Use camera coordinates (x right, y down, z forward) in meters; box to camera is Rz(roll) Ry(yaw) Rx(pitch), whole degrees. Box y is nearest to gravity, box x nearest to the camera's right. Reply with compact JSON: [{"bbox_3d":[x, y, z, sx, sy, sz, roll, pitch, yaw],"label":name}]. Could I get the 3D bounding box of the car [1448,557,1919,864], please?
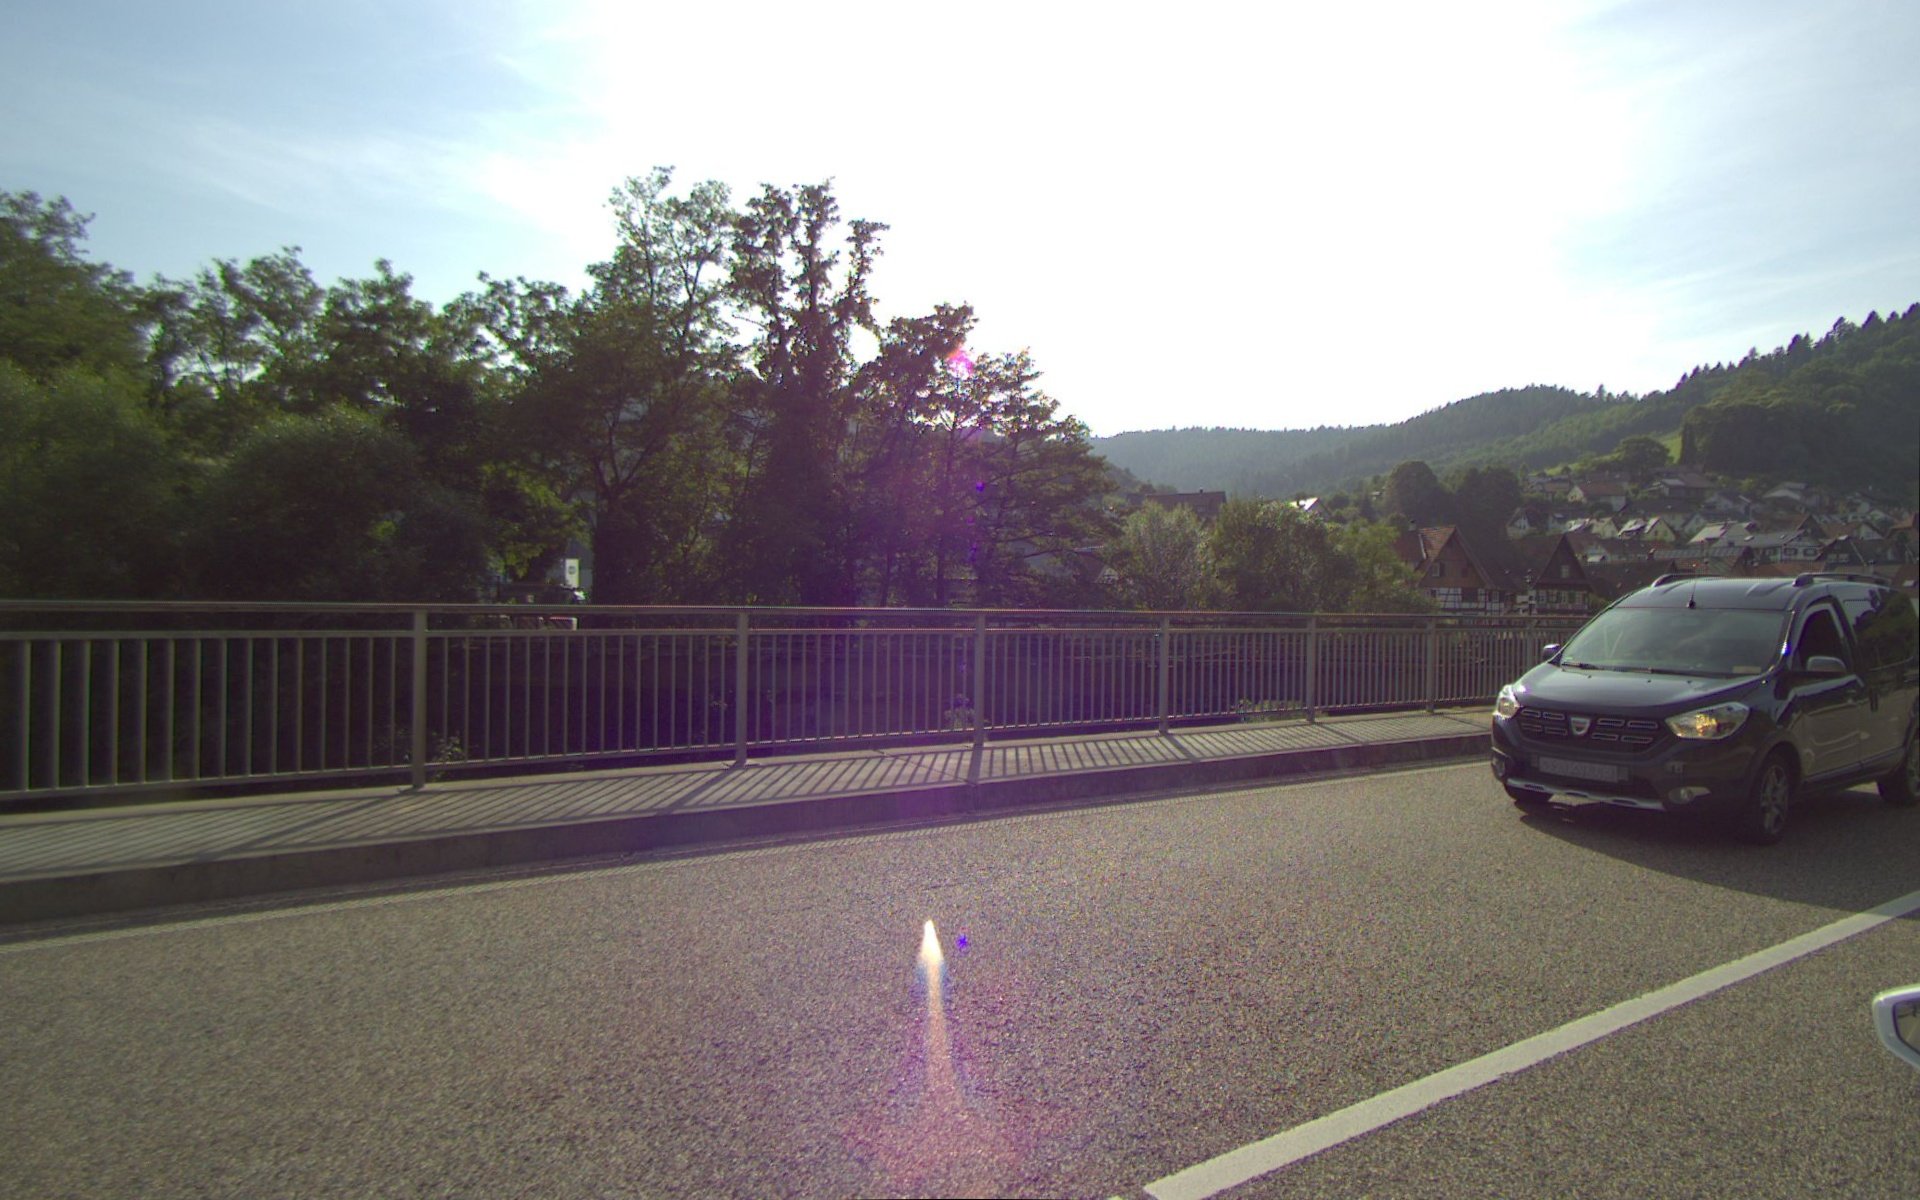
[{"bbox_3d":[6.174,0.704,8.100,4.775,1.852,1.781,1,0,-32],"label":"car"}]
